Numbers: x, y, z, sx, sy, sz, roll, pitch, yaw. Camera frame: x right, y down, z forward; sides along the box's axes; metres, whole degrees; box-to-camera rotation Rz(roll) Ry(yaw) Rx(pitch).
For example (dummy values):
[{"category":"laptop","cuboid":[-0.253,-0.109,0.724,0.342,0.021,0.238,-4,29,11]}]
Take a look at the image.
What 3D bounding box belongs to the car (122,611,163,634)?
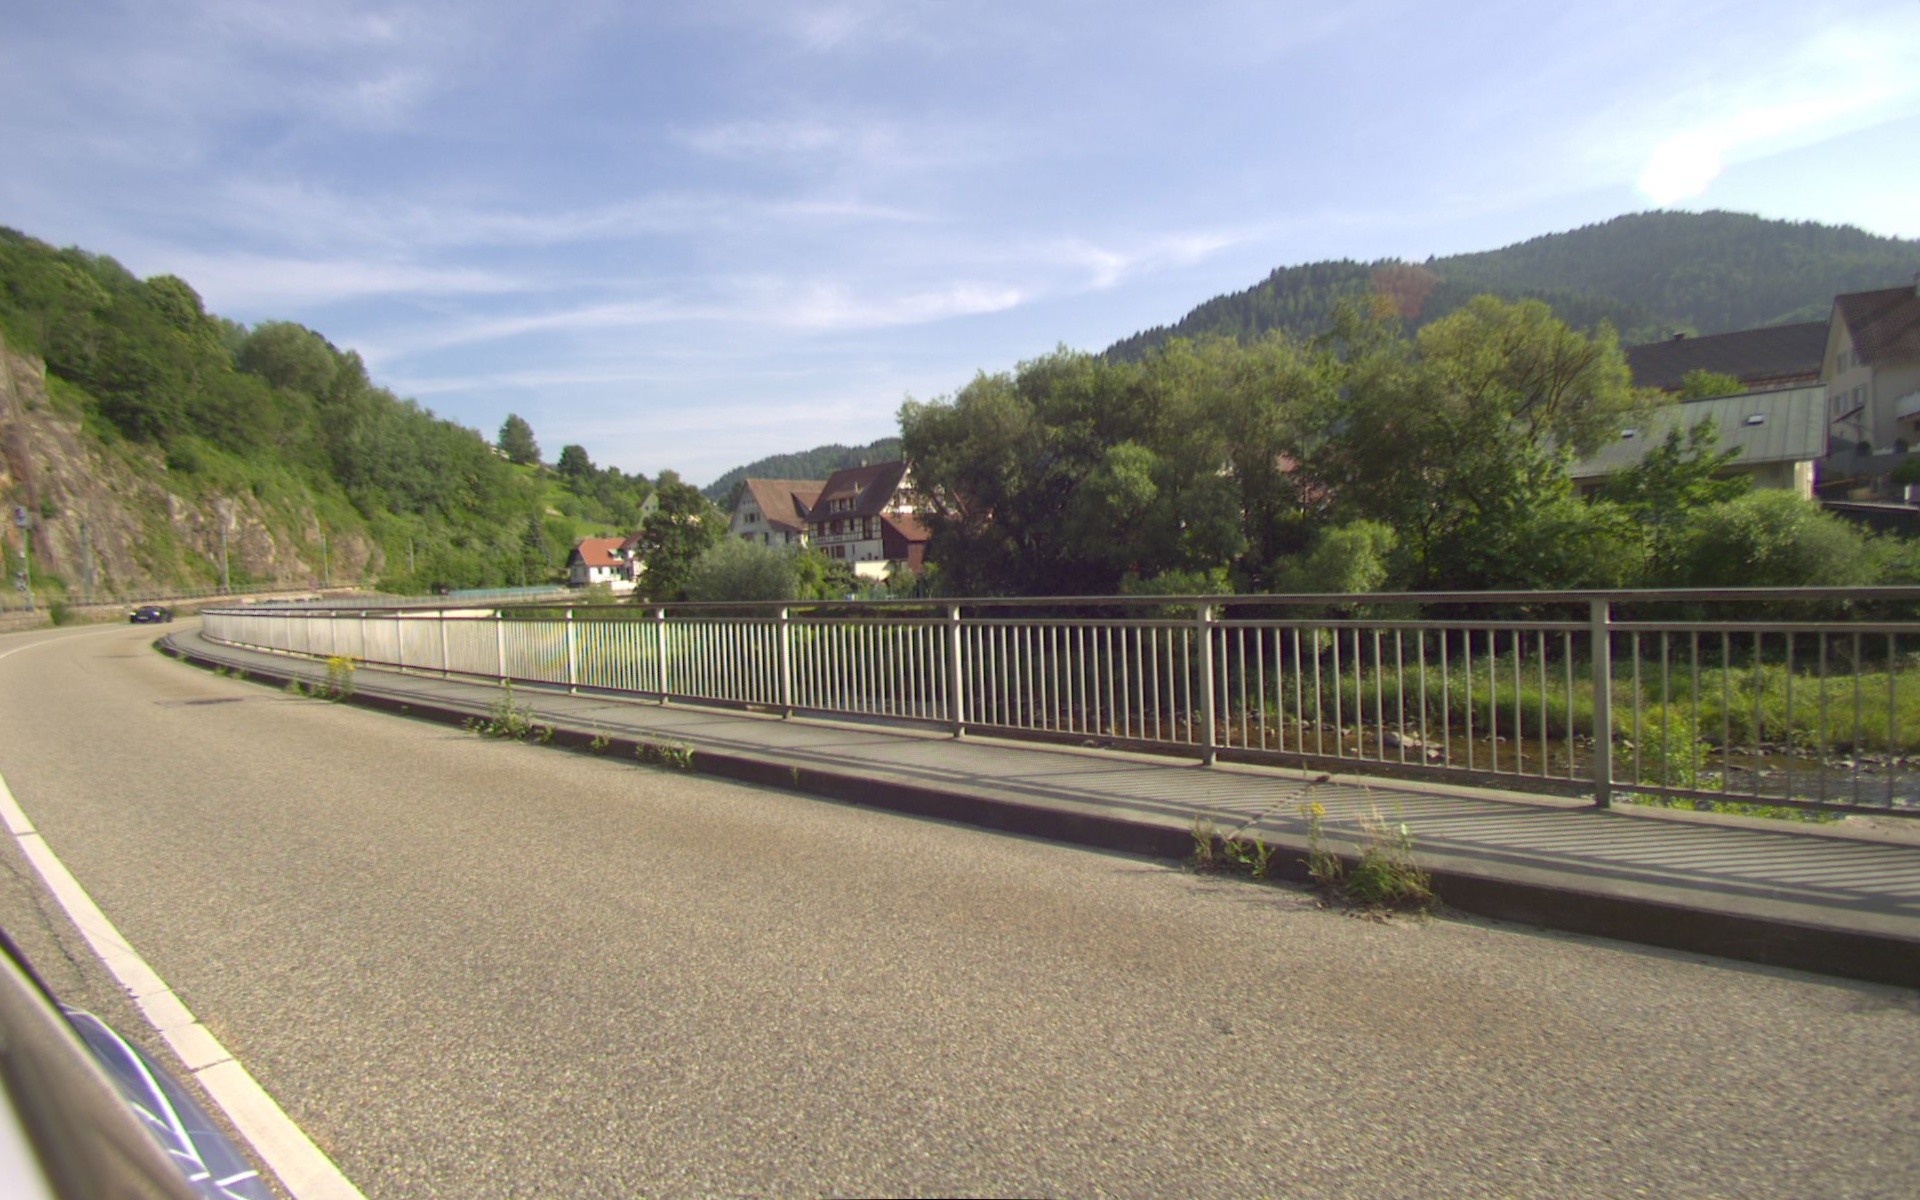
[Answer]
[{"category":"car","cuboid":[-59.137,1.664,73.254,1.676,1.533,3.482,4,-4,-30]}]
